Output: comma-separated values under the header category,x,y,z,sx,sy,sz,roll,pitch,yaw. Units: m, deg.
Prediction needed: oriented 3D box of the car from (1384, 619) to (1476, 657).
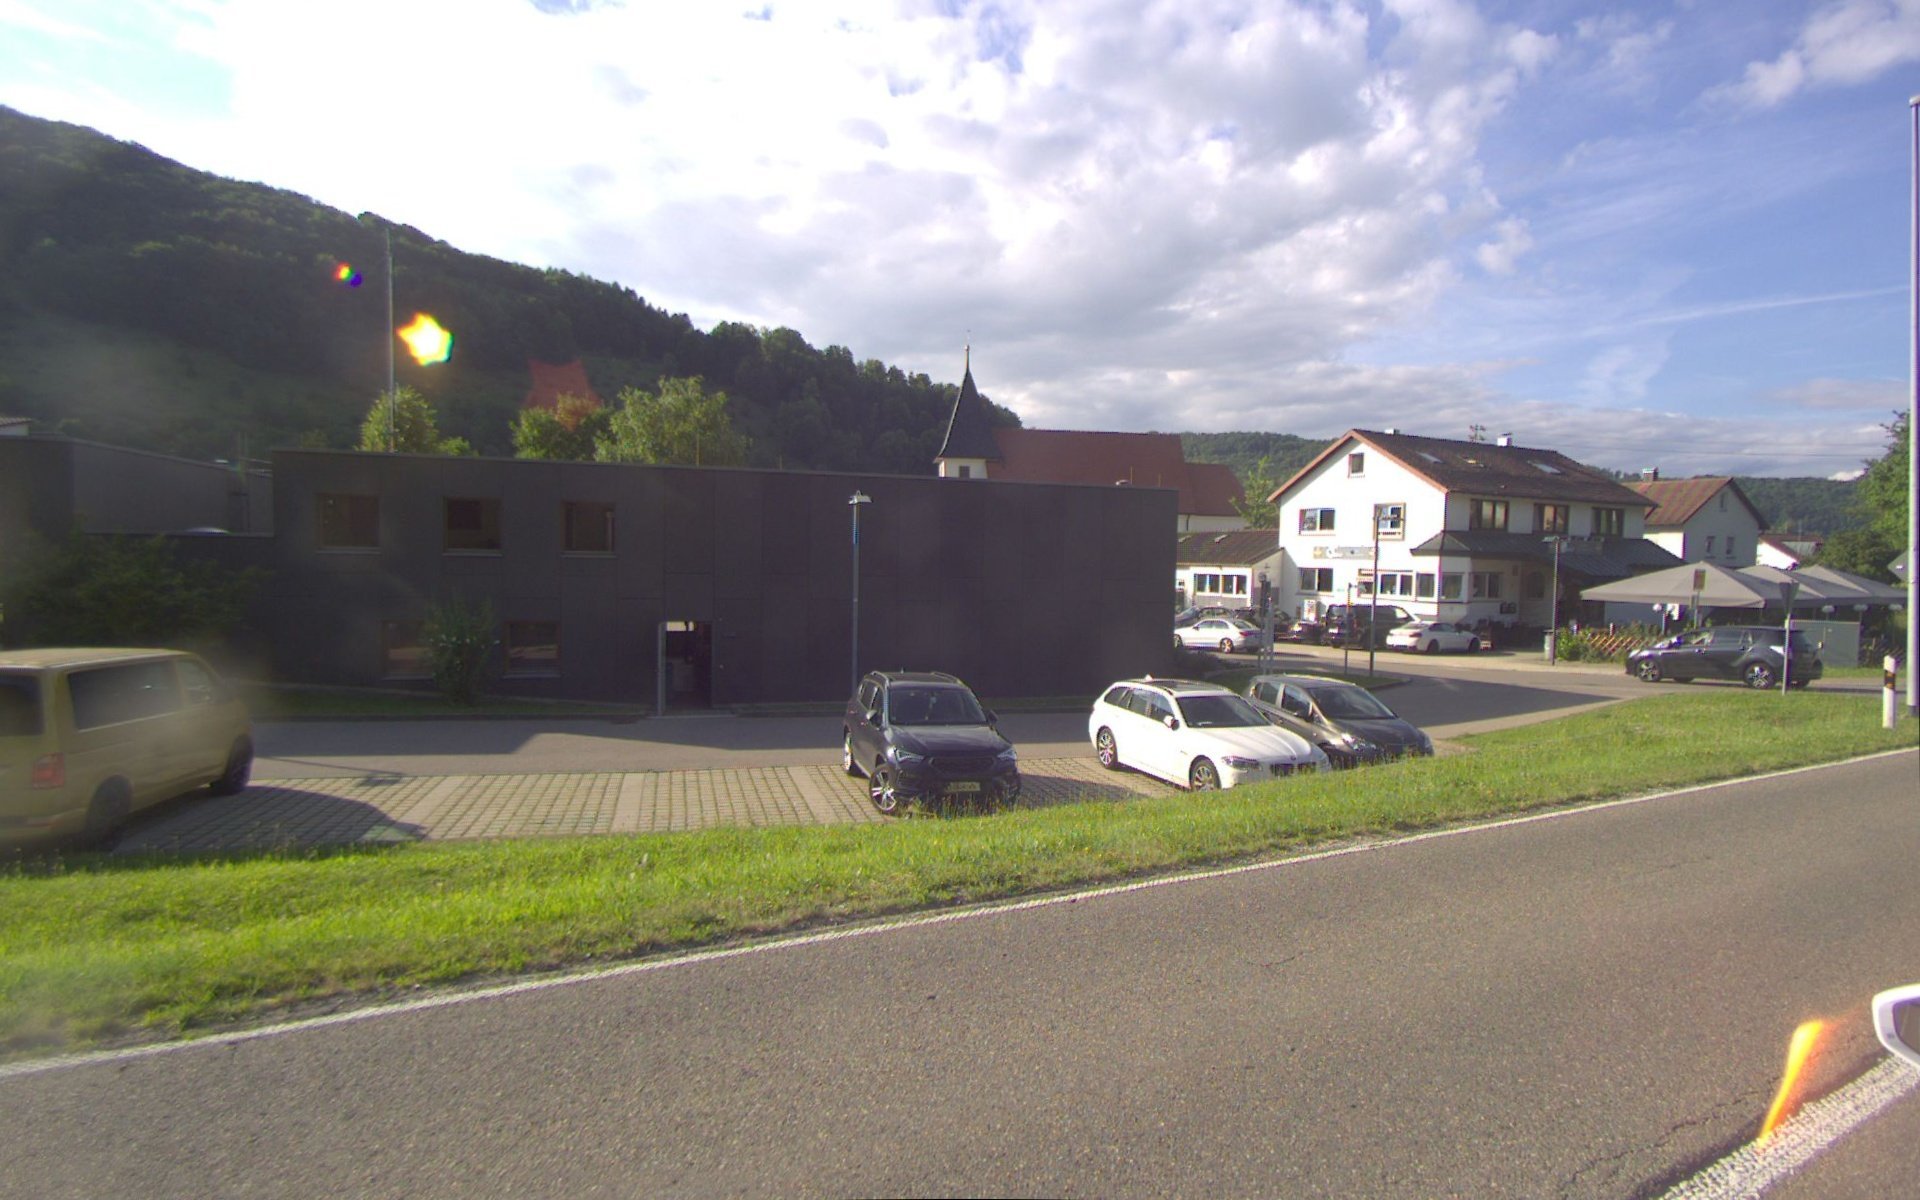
category,x,y,z,sx,sy,sz,roll,pitch,yaw
car,20.012,1.609,42.707,3.953,1.469,1.548,2,0,-30

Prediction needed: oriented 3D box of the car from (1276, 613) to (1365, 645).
category,x,y,z,sx,sy,sz,roll,pitch,yaw
car,17.040,1.362,47.421,3.954,1.372,1.832,2,0,-31

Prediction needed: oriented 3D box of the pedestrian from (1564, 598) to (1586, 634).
category,x,y,z,sx,sy,sz,roll,pitch,yaw
pedestrian,26.798,0.700,43.773,0.583,1.523,0.605,2,0,-30

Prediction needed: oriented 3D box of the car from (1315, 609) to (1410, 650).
category,x,y,z,sx,sy,sz,roll,pitch,yaw
car,18.028,1.314,44.971,3.953,1.684,1.878,2,0,-30

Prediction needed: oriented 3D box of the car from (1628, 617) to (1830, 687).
category,x,y,z,sx,sy,sz,roll,pitch,yaw
car,20.671,1.358,27.183,1.729,1.661,3.973,2,0,-26

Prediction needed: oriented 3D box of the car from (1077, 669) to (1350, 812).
category,x,y,z,sx,sy,sz,roll,pitch,yaw
car,3.664,2.012,15.600,1.851,1.513,4.811,2,0,-17

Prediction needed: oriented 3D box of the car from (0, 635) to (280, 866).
category,x,y,z,sx,sy,sz,roll,pitch,yaw
car,-9.706,1.440,11.207,1.966,1.892,4.612,2,0,-14

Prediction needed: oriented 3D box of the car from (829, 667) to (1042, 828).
category,x,y,z,sx,sy,sz,roll,pitch,yaw
car,-0.514,1.941,14.306,1.968,1.659,4.022,2,0,-17

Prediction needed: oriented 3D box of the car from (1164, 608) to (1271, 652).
category,x,y,z,sx,sy,sz,roll,pitch,yaw
car,10.958,1.259,43.027,1.790,1.661,4.424,2,0,-32

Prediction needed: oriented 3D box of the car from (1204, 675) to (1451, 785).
category,x,y,z,sx,sy,sz,roll,pitch,yaw
car,6.051,2.096,17.052,1.735,1.327,3.980,2,0,-21

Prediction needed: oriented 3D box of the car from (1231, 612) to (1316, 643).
category,x,y,z,sx,sy,sz,roll,pitch,yaw
car,15.342,1.354,49.120,3.954,1.372,1.832,2,0,-31

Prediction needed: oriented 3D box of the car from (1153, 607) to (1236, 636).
category,x,y,z,sx,sy,sz,roll,pitch,yaw
car,12.117,1.114,51.891,3.952,1.372,1.833,2,0,-29
